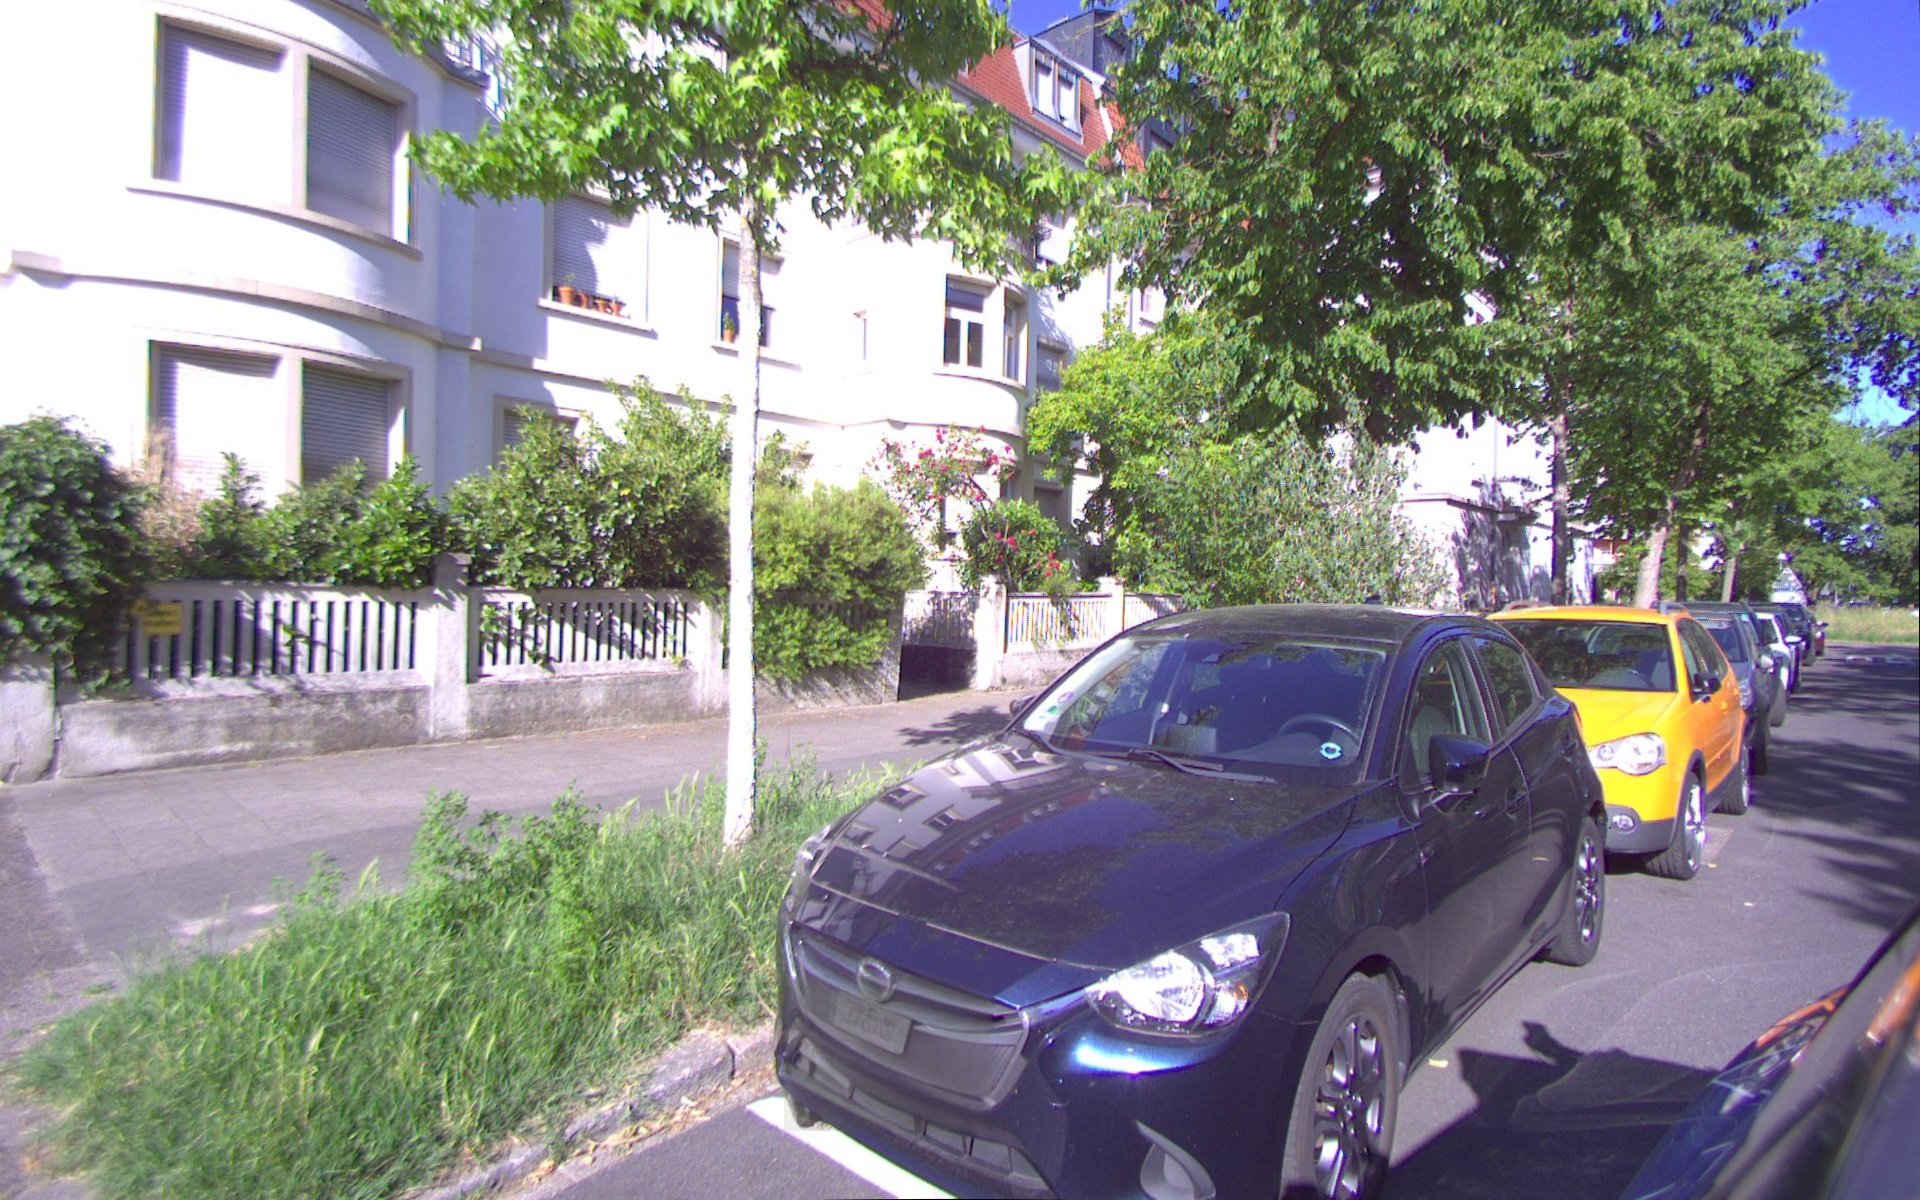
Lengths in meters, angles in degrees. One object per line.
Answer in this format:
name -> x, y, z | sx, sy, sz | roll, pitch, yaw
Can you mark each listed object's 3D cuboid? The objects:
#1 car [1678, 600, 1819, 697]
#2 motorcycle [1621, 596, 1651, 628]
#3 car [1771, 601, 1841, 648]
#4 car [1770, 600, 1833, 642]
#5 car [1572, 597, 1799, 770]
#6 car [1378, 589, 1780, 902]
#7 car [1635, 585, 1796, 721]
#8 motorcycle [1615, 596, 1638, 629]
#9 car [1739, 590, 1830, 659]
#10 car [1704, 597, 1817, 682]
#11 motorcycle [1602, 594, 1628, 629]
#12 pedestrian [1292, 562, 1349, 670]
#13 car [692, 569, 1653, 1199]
car -> 14.047, 0.762, 17.938 | 1.629, 1.442, 4.301 | 3, 2, 42
motorcycle -> 29.237, 0.499, 43.746 | 0.968, 1.345, 1.828 | 1, 1, 37
car -> 27.793, 0.758, 33.334 | 1.608, 1.427, 4.291 | 2, 1, 38
car -> 30.819, 0.739, 37.025 | 1.651, 1.419, 4.073 | 2, 1, 41
car -> 7.743, 0.724, 10.673 | 1.647, 1.446, 3.560 | 3, 2, 40
car -> 4.435, 0.704, 6.942 | 1.636, 1.473, 4.037 | 2, 1, 42
car -> 10.932, 0.651, 14.593 | 1.646, 1.676, 3.792 | 1, 1, 39
motorcycle -> 27.950, 0.509, 42.428 | 0.654, 1.295, 1.777 | 4, 2, 35
car -> 23.035, 0.629, 28.215 | 1.780, 1.719, 4.233 | 2, 1, 41
car -> 16.982, 0.766, 21.389 | 1.682, 1.608, 4.469 | -1, -1, 40
motorcycle -> 26.376, 0.457, 40.718 | 0.539, 1.378, 2.057 | 1, 1, 42
pedestrian -> 6.185, 0.259, 17.358 | 0.622, 1.797, 0.787 | 3, 1, 42
car -> 1.222, 0.684, 3.794 | 1.700, 1.467, 4.019 | 3, 2, 42
